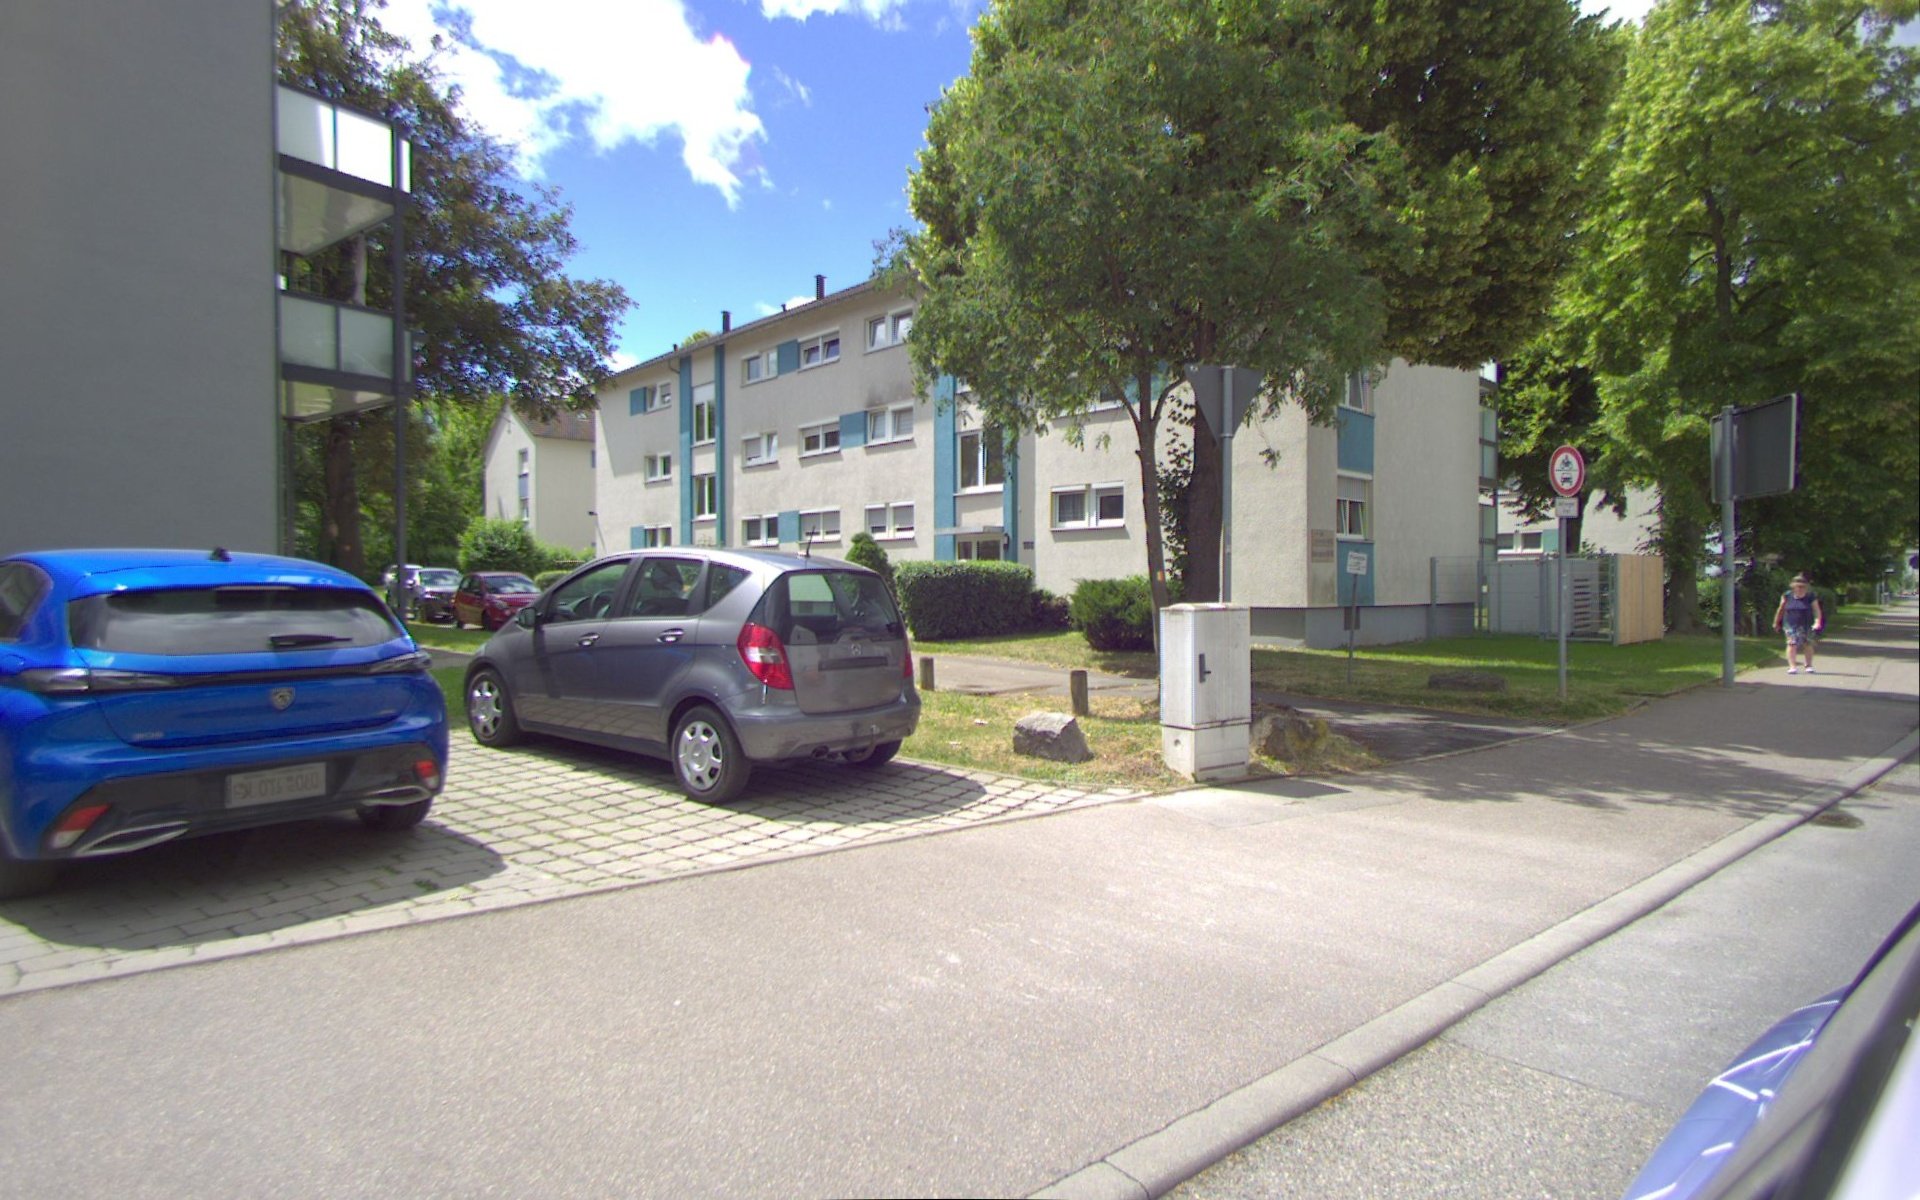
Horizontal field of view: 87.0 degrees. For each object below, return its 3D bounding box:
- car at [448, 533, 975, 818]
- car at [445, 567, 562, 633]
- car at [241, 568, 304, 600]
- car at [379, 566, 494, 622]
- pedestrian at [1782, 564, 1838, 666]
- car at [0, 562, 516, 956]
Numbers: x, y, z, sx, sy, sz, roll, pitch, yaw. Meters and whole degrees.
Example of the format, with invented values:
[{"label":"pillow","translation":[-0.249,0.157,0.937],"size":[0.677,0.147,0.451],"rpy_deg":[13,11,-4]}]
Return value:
[{"label":"car","translation":[-1.981,0.344,7.668],"size":[3.722,1.576,2.004],"rpy_deg":[4,3,38]},{"label":"car","translation":[-11.485,0.006,25.345],"size":[1.700,1.521,3.876],"rpy_deg":[-1,0,-40]},{"label":"car","translation":[-31.360,-0.712,46.113],"size":[1.965,1.330,3.993],"rpy_deg":[-1,0,-41]},{"label":"car","translation":[-15.321,-0.212,29.515],"size":[1.887,1.522,3.989],"rpy_deg":[0,1,-45]},{"label":"pedestrian","translation":[14.403,0.231,17.166],"size":[0.681,1.681,0.820],"rpy_deg":[1,1,40]},{"label":"car","translation":[-4.640,0.500,5.681],"size":[4.472,1.258,1.974],"rpy_deg":[4,3,36]}]
